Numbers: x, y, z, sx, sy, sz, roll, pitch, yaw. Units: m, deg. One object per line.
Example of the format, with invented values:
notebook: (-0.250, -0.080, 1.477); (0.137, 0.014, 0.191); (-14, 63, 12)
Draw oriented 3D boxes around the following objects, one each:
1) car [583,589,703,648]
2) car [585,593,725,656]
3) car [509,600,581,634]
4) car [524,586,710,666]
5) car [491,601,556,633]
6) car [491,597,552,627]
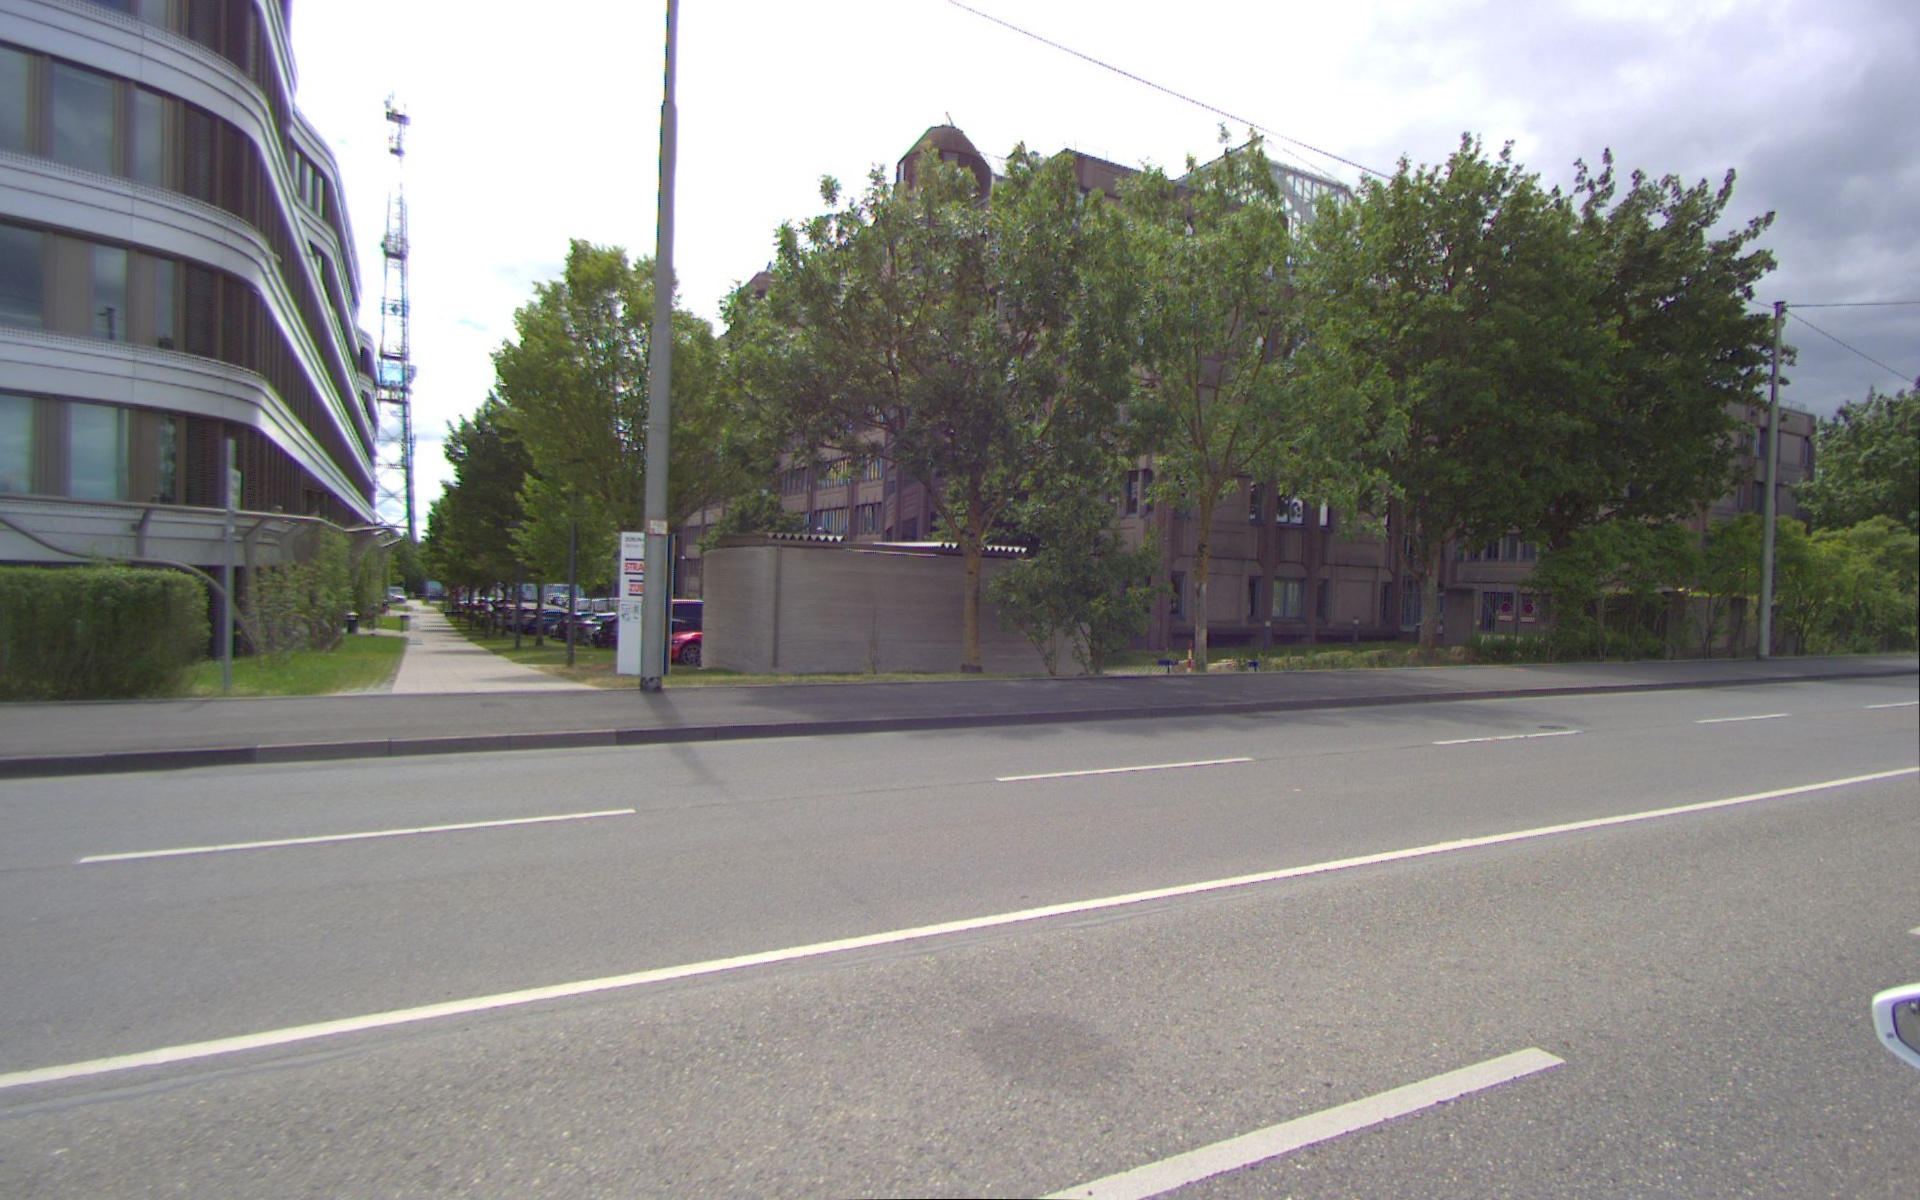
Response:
car: (-11.720, 0.693, 37.125); (3.949, 2.040, 1.986); (2, 1, -28)
car: (-9.788, 0.792, 32.250); (3.953, 1.795, 1.834); (3, 0, -30)
car: (-26.338, 1.087, 63.760); (3.953, 2.040, 1.984); (2, 1, -30)
car: (-8.437, 0.644, 24.811); (3.960, 1.817, 1.851); (2, 0, -35)
car: (-30.439, 1.185, 70.079); (3.953, 2.040, 1.984); (2, 1, -30)
car: (-32.483, 0.907, 74.455); (3.953, 2.040, 1.984); (2, 1, -30)
